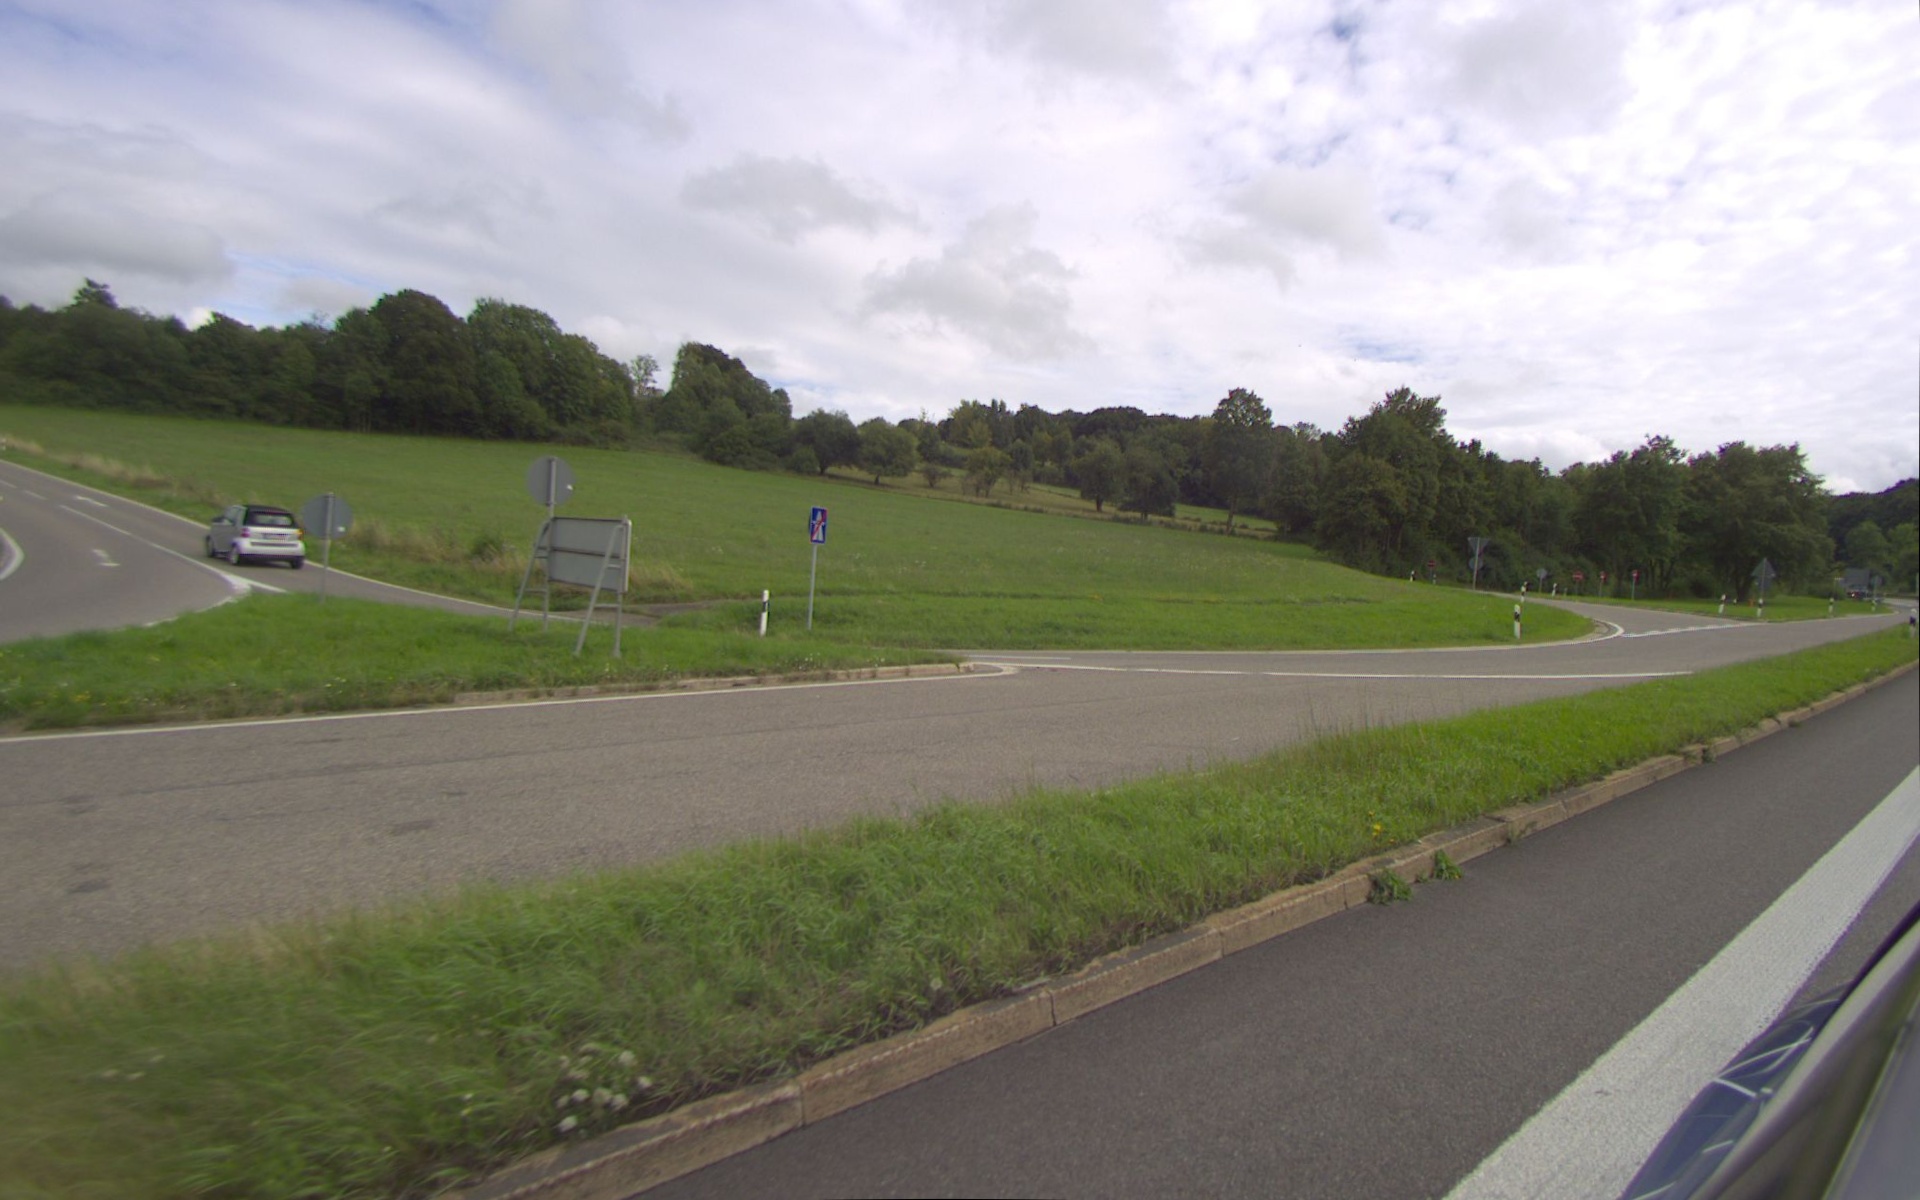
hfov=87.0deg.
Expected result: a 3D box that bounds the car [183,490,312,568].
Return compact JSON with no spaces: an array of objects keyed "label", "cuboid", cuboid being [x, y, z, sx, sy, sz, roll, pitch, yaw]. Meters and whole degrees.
[{"label":"car","cuboid":[-19.220,-1.924,27.236,3.985,1.569,1.759,11,7,38]}]

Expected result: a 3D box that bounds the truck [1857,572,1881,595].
[{"label":"truck","cuboid":[164.674,-3.040,183.349,2.783,4.020,5.859,3,3,38]}]
